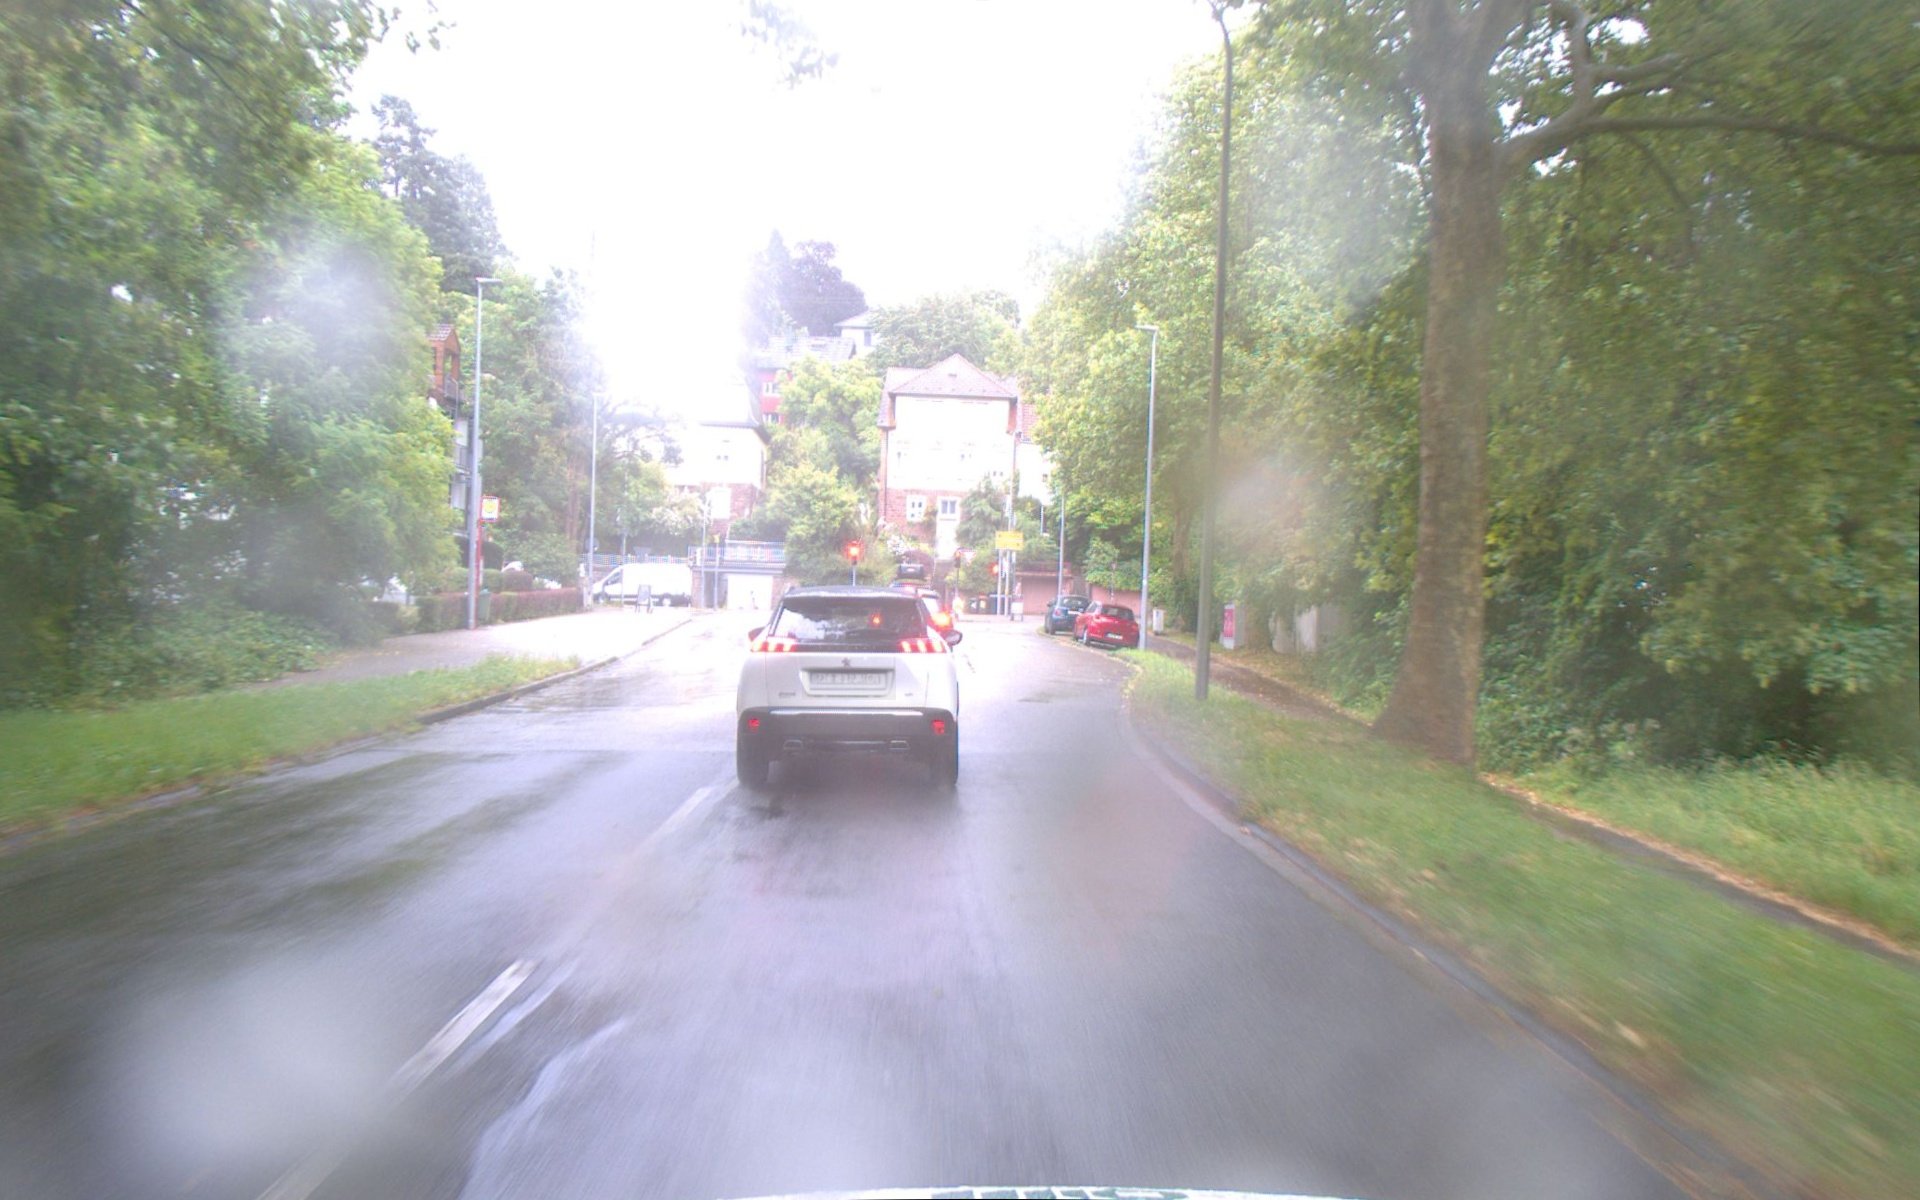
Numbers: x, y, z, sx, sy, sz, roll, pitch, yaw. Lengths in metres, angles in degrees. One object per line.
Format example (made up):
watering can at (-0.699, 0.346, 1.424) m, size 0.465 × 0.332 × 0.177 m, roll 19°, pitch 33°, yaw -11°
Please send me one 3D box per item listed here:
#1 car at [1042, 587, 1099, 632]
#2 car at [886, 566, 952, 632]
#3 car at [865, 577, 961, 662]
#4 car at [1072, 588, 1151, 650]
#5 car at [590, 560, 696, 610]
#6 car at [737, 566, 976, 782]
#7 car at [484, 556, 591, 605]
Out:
car at (4.184, 0.346, 63.204) m, size 1.714 × 1.517 × 3.598 m, roll 4°, pitch 0°, yaw -2°
car at (-1.249, -0.069, 48.587) m, size 1.725 × 1.740 × 4.598 m, roll 3°, pitch 1°, yaw -3°
car at (-0.975, 0.346, 34.726) m, size 1.795 × 1.481 × 4.658 m, roll 4°, pitch 1°, yaw -2°
car at (4.858, 0.585, 53.638) m, size 1.785 × 1.542 × 3.741 m, roll 9°, pitch 2°, yaw -4°
car at (-18.201, -0.858, 95.143) m, size 5.545 × 2.538 × 2.315 m, roll 3°, pitch -1°, yaw 0°
car at (-0.819, 0.526, 14.280) m, size 1.717 × 1.562 × 4.366 m, roll 1°, pitch 0°, yaw -2°
car at (-24.294, -1.118, 95.198) m, size 5.449 × 2.538 × 2.315 m, roll 3°, pitch -1°, yaw 0°
